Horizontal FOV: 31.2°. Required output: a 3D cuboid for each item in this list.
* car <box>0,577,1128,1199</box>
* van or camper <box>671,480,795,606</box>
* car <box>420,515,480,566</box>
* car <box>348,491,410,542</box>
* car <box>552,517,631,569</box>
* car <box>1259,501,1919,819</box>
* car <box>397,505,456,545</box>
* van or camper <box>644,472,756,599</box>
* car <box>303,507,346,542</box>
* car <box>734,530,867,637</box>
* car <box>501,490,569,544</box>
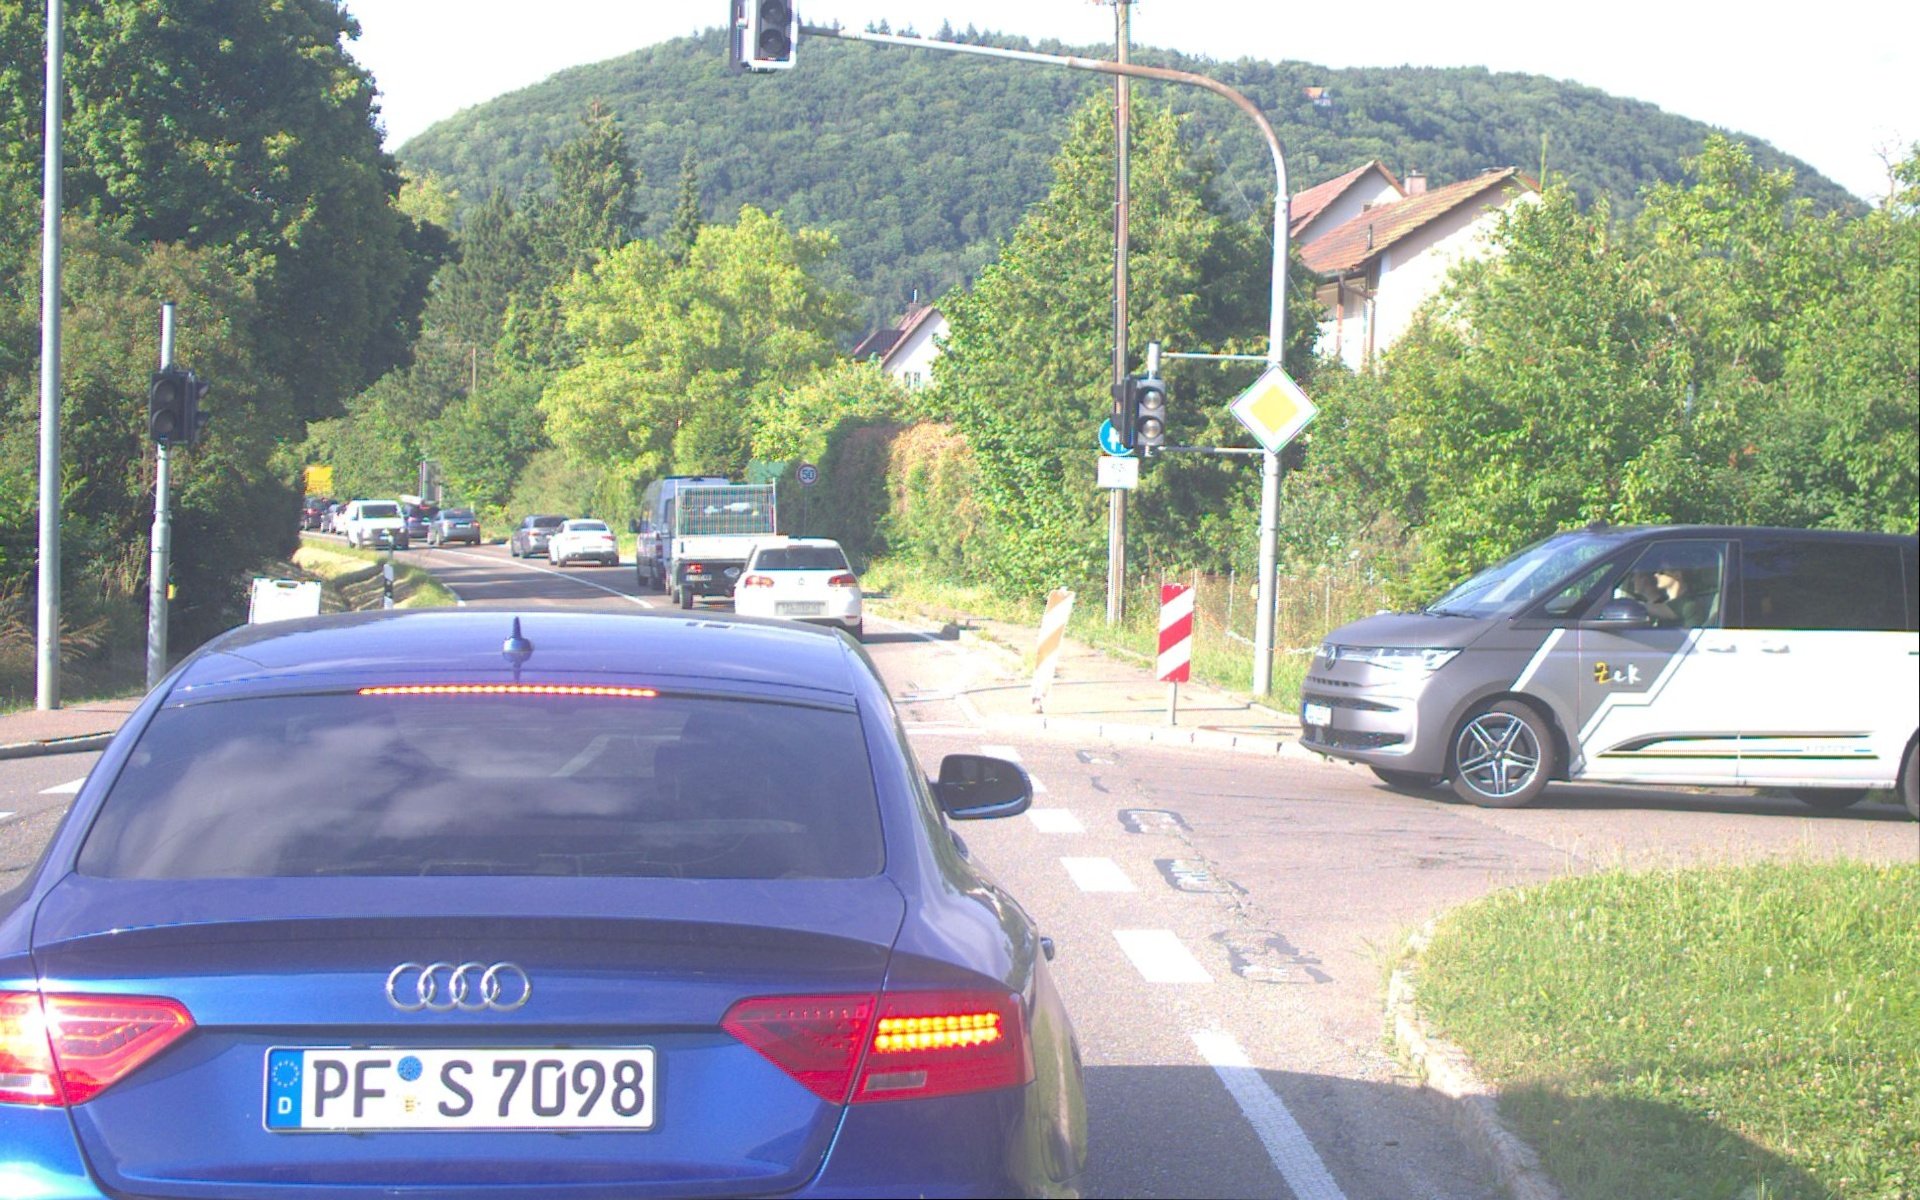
[{"bbox_3d":[-0.781,0.699,6.484,1.829,1.404,4.227,-1,1,-2],"label":"car"},{"bbox_3d":[-4.520,-1.151,67.749,2.179,2.377,5.371,0,2,-6],"label":"van or camper"},{"bbox_3d":[-20.640,-2.418,139.114,1.993,2.006,4.002,0,2,-15],"label":"car"},{"bbox_3d":[-22.508,-3.259,133.133,1.993,1.897,5.255,-1,2,-13],"label":"car"},{"bbox_3d":[-11.269,-1.762,104.939,1.819,1.546,4.001,0,1,-15],"label":"car"},{"bbox_3d":[4.646,0.389,22.772,4.853,1.870,2.001,2,2,-14],"label":"car"},{"bbox_3d":[-22.985,-3.224,147.963,2.040,1.678,4.001,0,2,-16],"label":"car"},{"bbox_3d":[-6.218,-1.549,81.649,2.414,2.894,6.133,0,2,-6],"label":"van or camper"},{"bbox_3d":[-32.854,-3.901,177.707,1.771,1.776,4.001,-1,1,-16],"label":"car"},{"bbox_3d":[-2.265,-0.266,49.359,1.771,1.410,4.174,2,1,-2],"label":"car"},{"bbox_3d":[-14.398,-2.804,116.298,1.796,1.787,4.001,-1,1,-14],"label":"car"}]
